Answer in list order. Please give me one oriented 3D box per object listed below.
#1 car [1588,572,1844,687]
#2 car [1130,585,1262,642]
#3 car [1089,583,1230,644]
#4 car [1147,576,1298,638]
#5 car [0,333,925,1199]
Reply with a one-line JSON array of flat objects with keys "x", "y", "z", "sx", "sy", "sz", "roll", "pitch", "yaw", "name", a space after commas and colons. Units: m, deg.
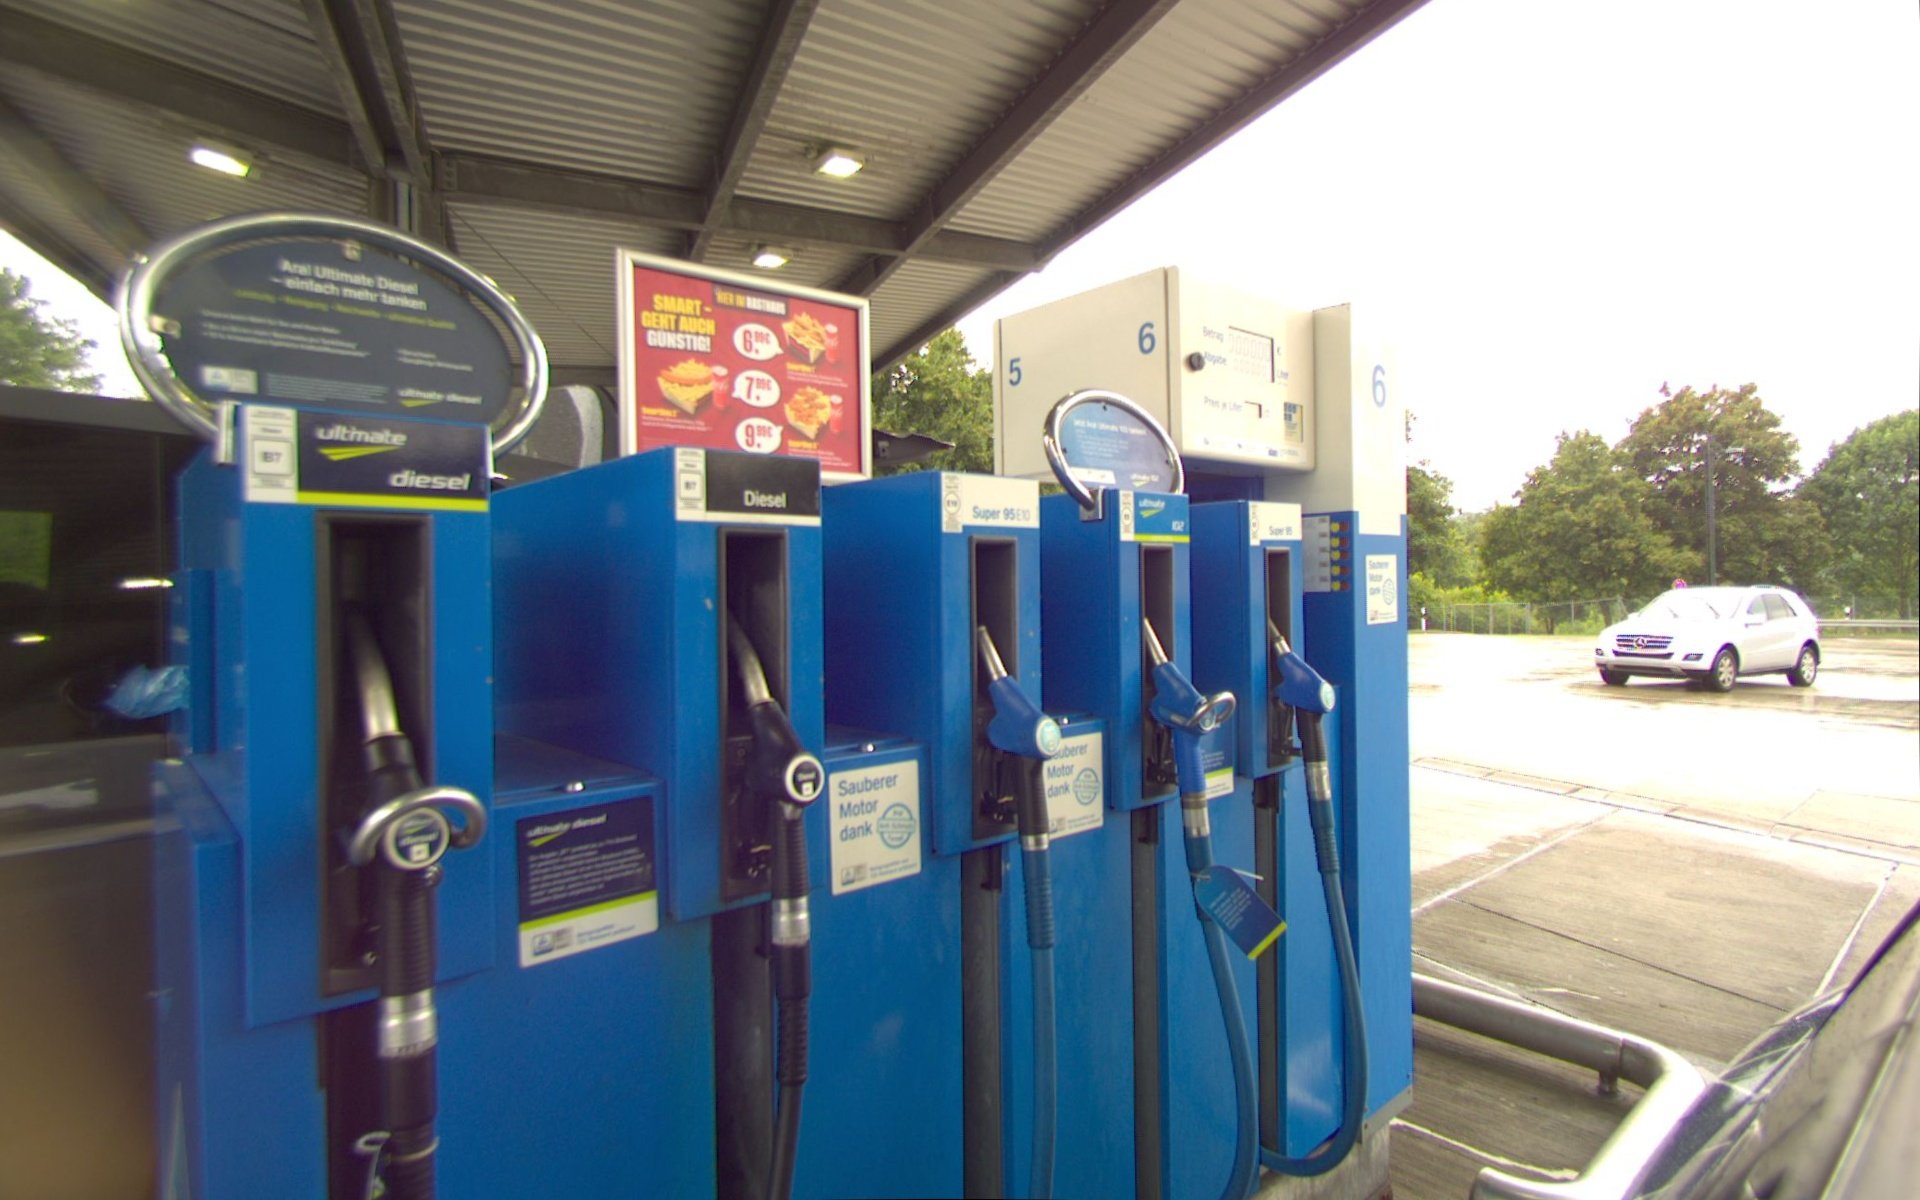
[{"x": 13.319, "y": 0.487, "z": 17.794, "sx": 4.446, "sy": 1.821, "sz": 1.870, "roll": 1, "pitch": 0, "yaw": -27, "name": "car"}, {"x": 7.421, "y": 0.386, "z": 31.916, "sx": 3.941, "sy": 1.680, "sz": 1.593, "roll": 1, "pitch": 0, "yaw": 14, "name": "car"}, {"x": 5.867, "y": 0.374, "z": 29.726, "sx": 3.941, "sy": 1.680, "sz": 1.593, "roll": 1, "pitch": 0, "yaw": 14, "name": "car"}, {"x": 8.883, "y": 0.207, "z": 34.499, "sx": 4.817, "sy": 1.974, "sz": 2.306, "roll": 1, "pitch": 1, "yaw": 14, "name": "car"}, {"x": -2.604, "y": 0.502, "z": 1.813, "sx": 5.050, "sy": 1.821, "sz": 1.864, "roll": -1, "pitch": 0, "yaw": -41, "name": "car"}]
